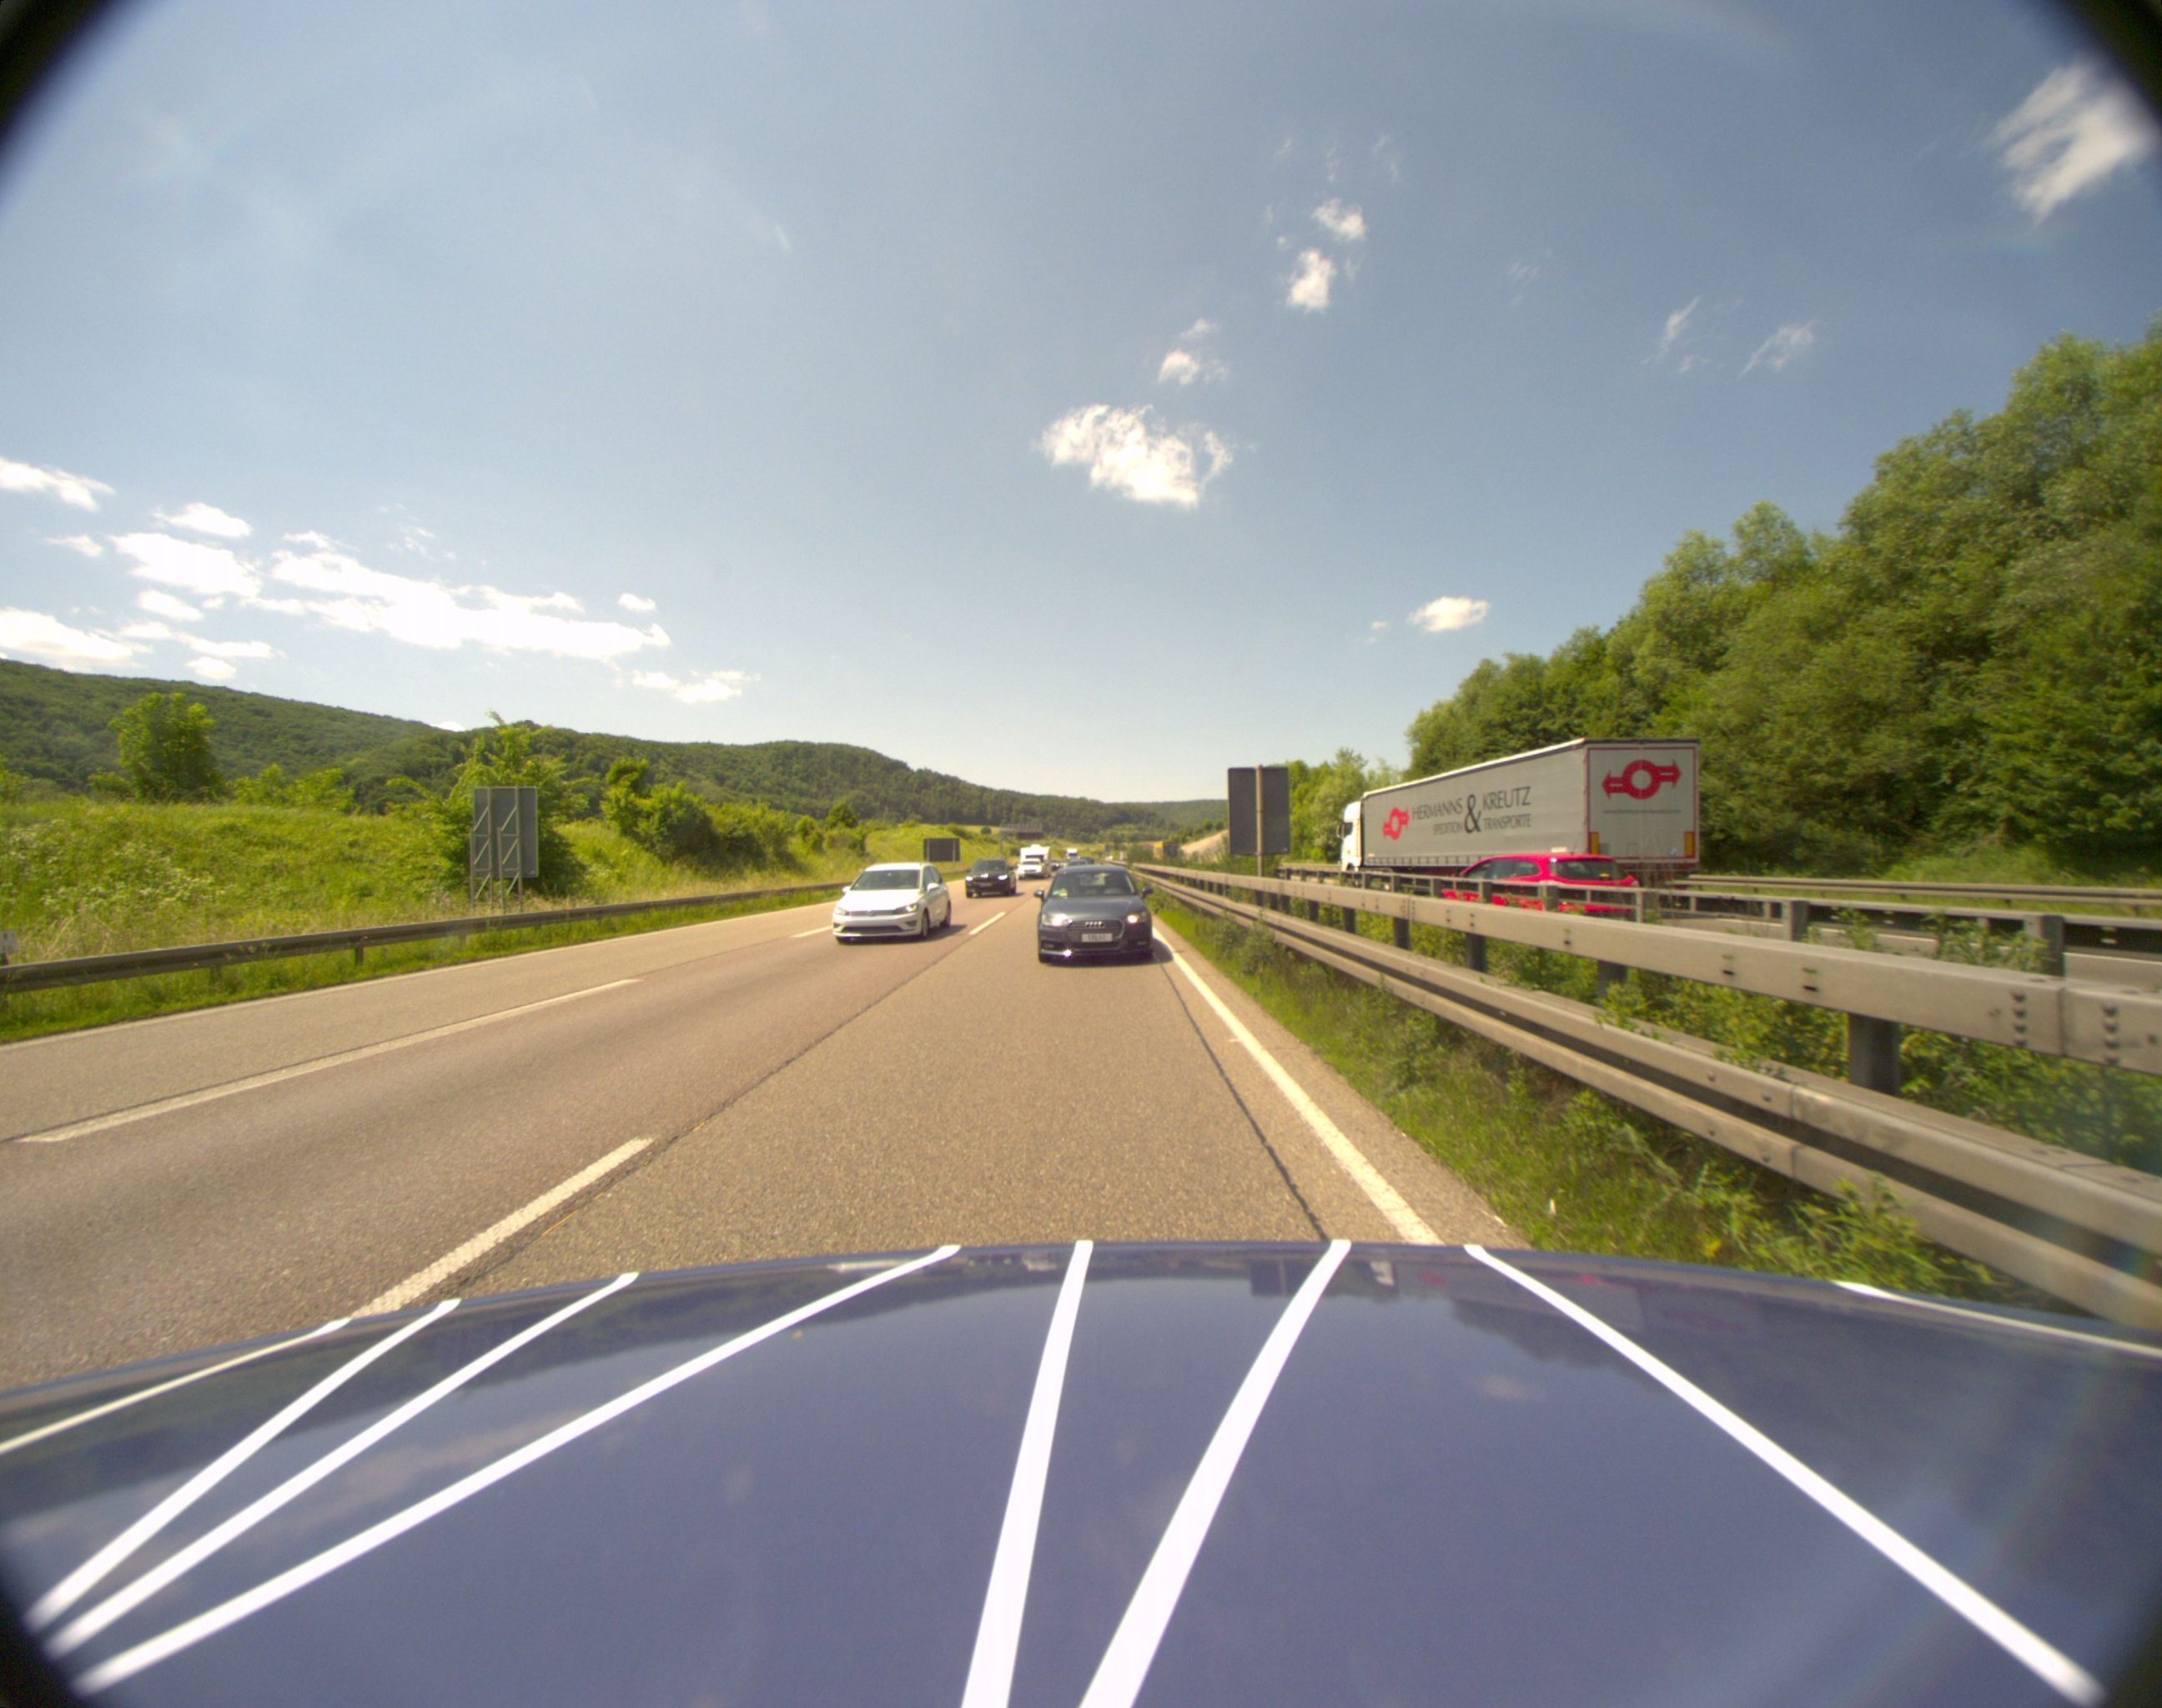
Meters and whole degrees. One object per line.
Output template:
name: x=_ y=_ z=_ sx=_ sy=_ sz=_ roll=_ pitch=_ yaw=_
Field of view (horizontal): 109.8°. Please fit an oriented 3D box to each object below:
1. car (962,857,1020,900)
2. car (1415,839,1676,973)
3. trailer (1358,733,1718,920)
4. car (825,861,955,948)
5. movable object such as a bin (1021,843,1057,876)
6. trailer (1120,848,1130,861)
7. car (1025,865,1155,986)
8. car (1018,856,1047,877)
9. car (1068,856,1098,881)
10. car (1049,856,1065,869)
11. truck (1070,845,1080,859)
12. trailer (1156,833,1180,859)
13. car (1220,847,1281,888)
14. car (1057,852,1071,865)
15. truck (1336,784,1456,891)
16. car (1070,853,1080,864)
car: x=-3.888 y=1.026 z=33.563 sx=1.893 sy=1.761 sz=4.172 roll=-1 pitch=0 yaw=2
car: x=8.101 y=0.797 z=13.855 sx=1.999 sy=2.002 sz=4.333 roll=-2 pitch=0 yaw=-1
trailer: x=12.525 y=-0.600 z=23.601 sx=2.789 sy=3.976 sz=14.159 roll=-2 pitch=0 yaw=1
car: x=-3.905 y=0.956 z=16.257 sx=1.777 sy=1.532 sz=4.053 roll=-2 pitch=0 yaw=-1
movable object such as a bin: x=-3.557 y=0.450 z=66.075 sx=2.481 sy=2.616 sz=6.709 roll=-2 pitch=0 yaw=1
trailer: x=15.042 y=0.176 z=258.014 sx=2.863 sy=4.052 sz=11.263 roll=0 pitch=0 yaw=0
car: x=0.247 y=0.937 z=11.563 sx=1.591 sy=1.401 sz=4.001 roll=-2 pitch=0 yaw=4
car: x=-3.725 y=0.948 z=58.994 sx=1.821 sy=1.574 sz=4.000 roll=-1 pitch=0 yaw=1
car: x=0.179 y=0.912 z=50.538 sx=1.835 sy=1.586 sz=4.001 roll=-1 pitch=0 yaw=2
car: x=-2.823 y=0.993 z=89.725 sx=1.711 sy=1.542 sz=4.000 roll=-1 pitch=0 yaw=1
truck: x=-1.711 y=-0.488 z=204.517 sx=2.336 sy=3.623 sz=7.006 roll=-2 pitch=0 yaw=1
trailer: x=13.977 y=-1.194 z=123.294 sx=2.587 sy=3.981 sz=12.601 roll=-2 pitch=0 yaw=1
car: x=8.237 y=0.618 z=37.286 sx=1.927 sy=1.786 sz=4.600 roll=-2 pitch=0 yaw=0
car: x=-2.751 y=0.736 z=119.469 sx=1.999 sy=2.002 sz=3.999 roll=-1 pitch=0 yaw=-3
truck: x=12.661 y=-0.606 z=31.034 sx=2.735 sy=3.978 sz=5.369 roll=0 pitch=0 yaw=1
car: x=-1.157 y=0.881 z=148.998 sx=1.998 sy=2.002 sz=4.000 roll=-2 pitch=0 yaw=0
